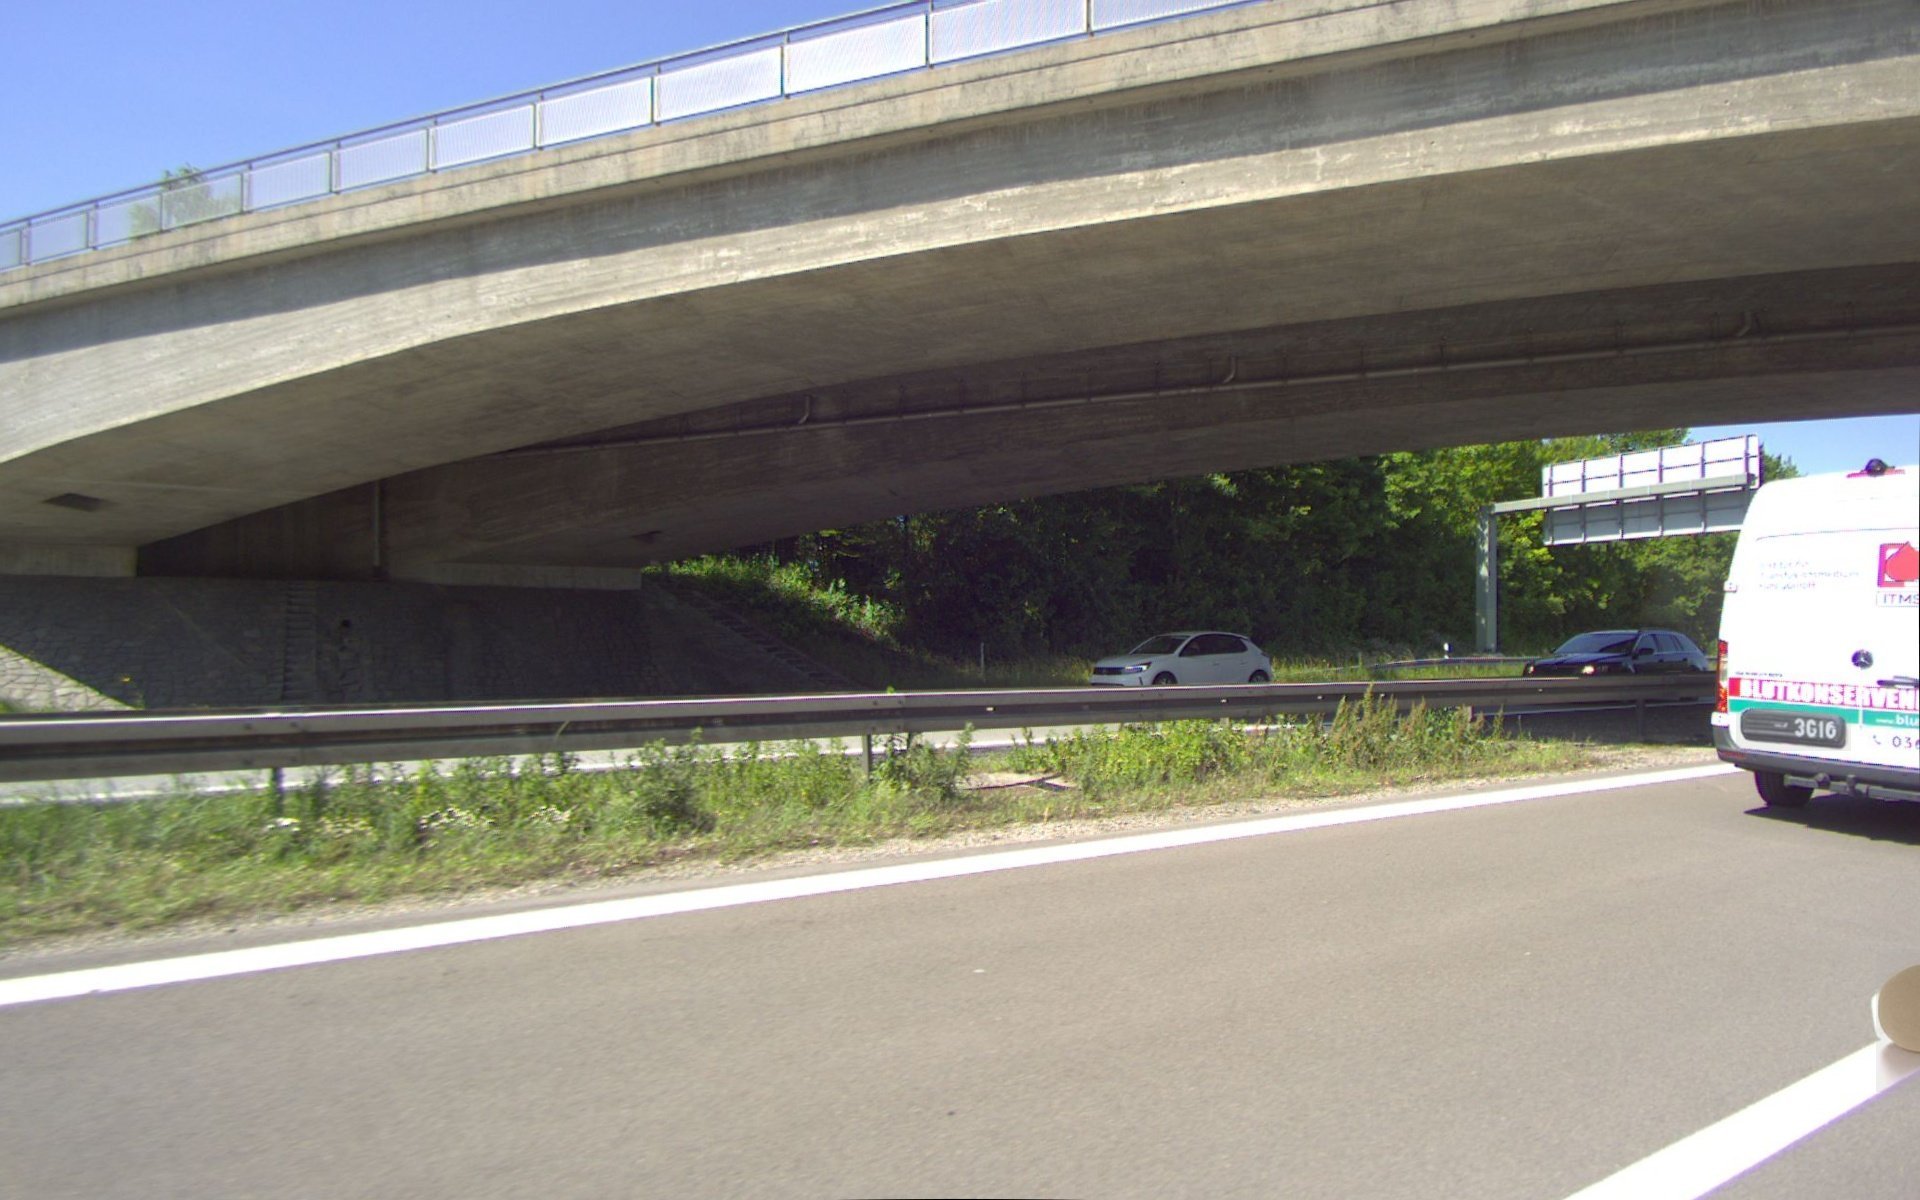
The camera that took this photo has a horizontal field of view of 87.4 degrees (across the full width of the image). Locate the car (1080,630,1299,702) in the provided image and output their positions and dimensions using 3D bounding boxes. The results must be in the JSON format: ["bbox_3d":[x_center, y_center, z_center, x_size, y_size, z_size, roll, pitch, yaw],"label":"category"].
[{"bbox_3d":[4.676,1.302,20.313,4.319,1.318,1.766,1,-4,-31],"label":"car"}]

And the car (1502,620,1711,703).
[{"bbox_3d":[12.985,1.209,20.120,4.369,1.493,1.766,1,-4,-31],"label":"car"}]

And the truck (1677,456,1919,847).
[{"bbox_3d":[9.002,0.399,8.613,6.610,2.576,1.985,1,0,-29],"label":"truck"}]
